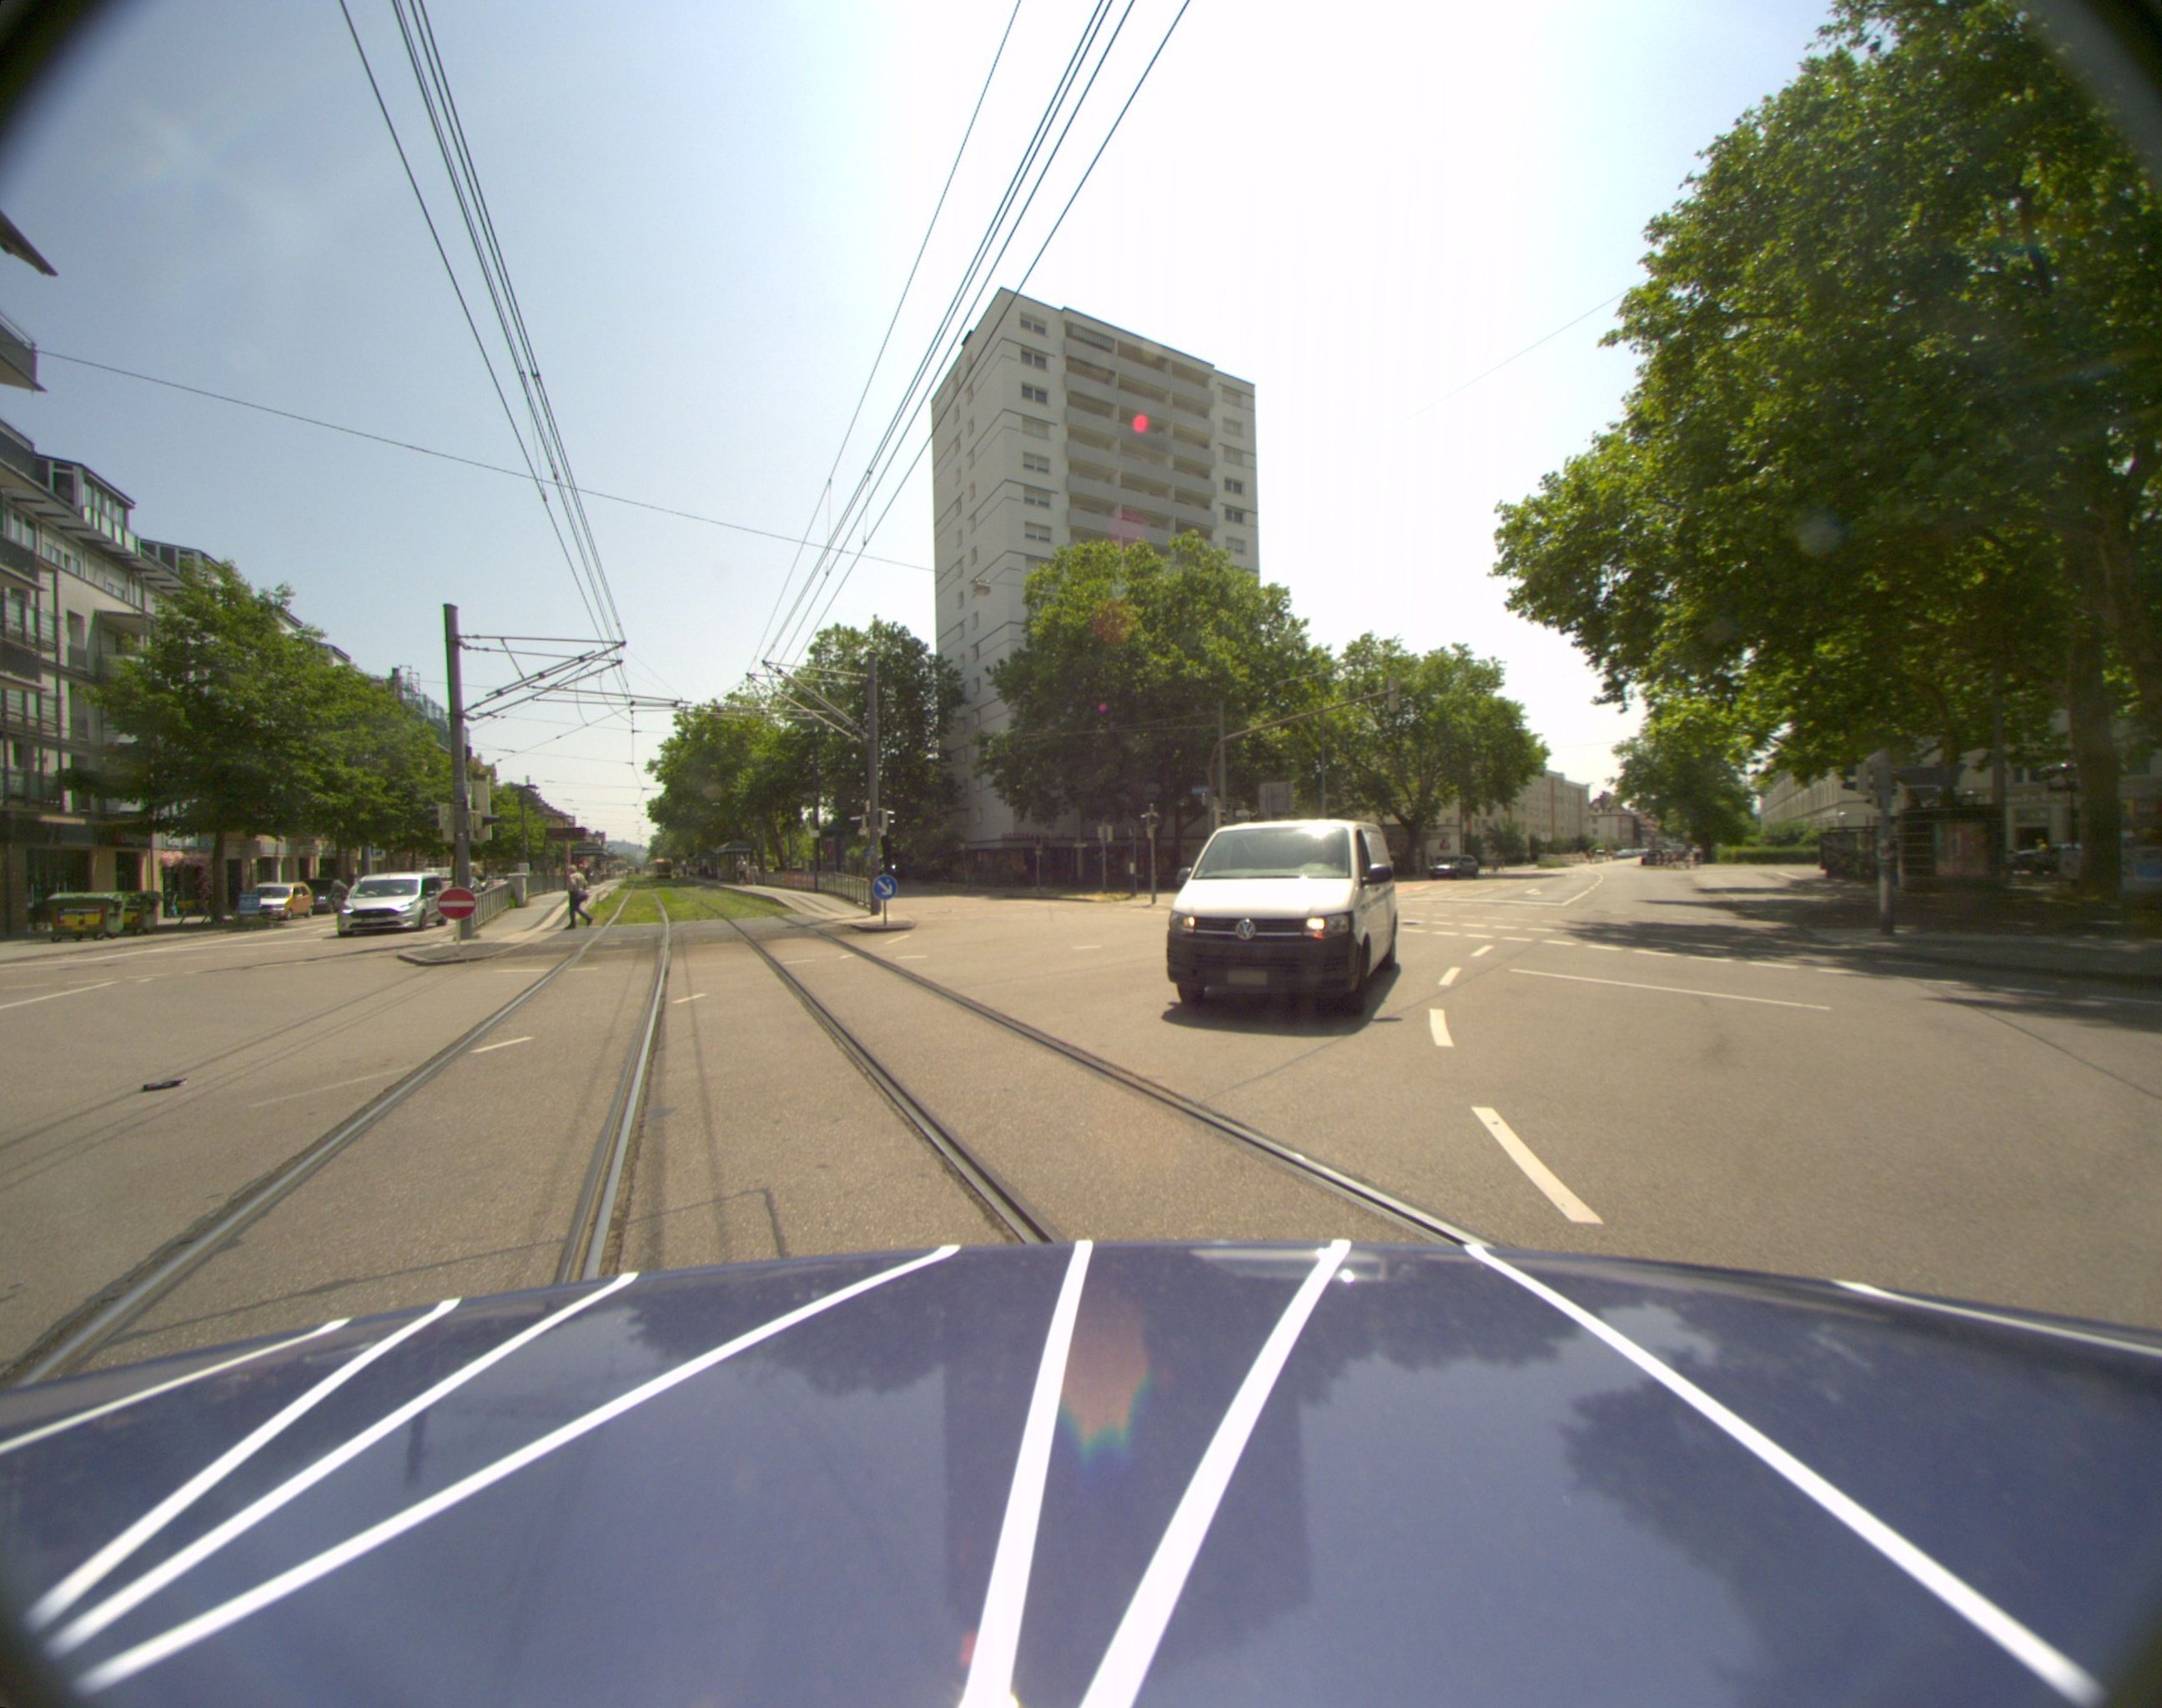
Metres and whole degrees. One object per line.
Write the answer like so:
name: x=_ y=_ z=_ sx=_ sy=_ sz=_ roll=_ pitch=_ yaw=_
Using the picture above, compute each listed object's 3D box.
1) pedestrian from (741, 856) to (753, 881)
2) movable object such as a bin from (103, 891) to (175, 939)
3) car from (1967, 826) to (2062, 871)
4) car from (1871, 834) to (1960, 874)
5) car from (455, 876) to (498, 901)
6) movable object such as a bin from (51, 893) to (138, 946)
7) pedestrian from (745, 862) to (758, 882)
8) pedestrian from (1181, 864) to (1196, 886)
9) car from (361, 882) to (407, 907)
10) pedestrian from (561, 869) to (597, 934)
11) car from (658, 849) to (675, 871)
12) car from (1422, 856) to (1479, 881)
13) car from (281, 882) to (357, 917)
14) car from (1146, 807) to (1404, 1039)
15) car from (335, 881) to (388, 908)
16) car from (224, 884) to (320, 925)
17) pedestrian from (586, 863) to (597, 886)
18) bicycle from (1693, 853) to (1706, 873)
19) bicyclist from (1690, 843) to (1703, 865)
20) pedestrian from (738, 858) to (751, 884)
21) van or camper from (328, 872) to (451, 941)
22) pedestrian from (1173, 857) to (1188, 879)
pedestrian: x=-21.792 y=0.944 z=49.578 sx=0.548 sy=1.571 sz=0.514 roll=-3 pitch=1 yaw=-31
movable object such as a bin: x=-30.783 y=1.974 z=24.860 sx=1.217 sy=1.428 sz=1.006 roll=-3 pitch=1 yaw=-36
car: x=45.333 y=-0.288 z=36.891 sx=4.005 sy=2.002 sz=1.996 roll=-3 pitch=1 yaw=-25
car: x=43.346 y=-0.010 z=39.458 sx=4.005 sy=1.888 sz=1.996 roll=-2 pitch=0 yaw=-25
car: x=-44.913 y=2.521 z=56.519 sx=2.003 sy=1.652 sz=3.990 roll=-1 pitch=0 yaw=-31
movable object such as a bin: x=-29.709 y=1.944 z=22.915 sx=1.216 sy=1.428 sz=1.006 roll=-3 pitch=1 yaw=-27
pedestrian: x=-21.904 y=1.200 z=50.527 sx=0.680 sy=1.341 sz=0.630 roll=-3 pitch=1 yaw=-31
pedestrian: x=6.811 y=1.306 z=47.998 sx=0.641 sy=1.357 sz=0.592 roll=-3 pitch=1 yaw=-35
car: x=-45.995 y=2.645 z=50.231 sx=1.690 sy=1.433 sz=3.467 roll=-2 pitch=0 yaw=-34
pedestrian: x=-13.530 y=1.265 z=20.482 sx=0.681 sy=1.695 sz=0.552 roll=-3 pitch=1 yaw=-27
car: x=-68.189 y=1.012 z=125.039 sx=2.279 sy=3.319 sz=12.007 roll=-2 pitch=0 yaw=-29
car: x=24.227 y=0.931 z=49.760 sx=4.065 sy=1.453 sz=1.941 roll=-3 pitch=1 yaw=-42
car: x=-39.253 y=2.280 z=39.228 sx=1.895 sy=1.522 sz=3.990 roll=-3 pitch=1 yaw=-33
car: x=2.589 y=0.649 z=8.983 sx=1.849 sy=1.941 sz=4.953 roll=-1 pitch=-2 yaw=28
car: x=-43.080 y=2.406 z=45.541 sx=1.690 sy=1.433 sz=3.467 roll=-2 pitch=0 yaw=-34
car: x=-36.648 y=2.241 z=34.533 sx=2.003 sy=1.522 sz=3.990 roll=-3 pitch=1 yaw=-33
pedestrian: x=-34.677 y=1.467 z=53.835 sx=0.551 sy=1.597 sz=0.552 roll=-3 pitch=1 yaw=-30
bicycle: x=50.870 y=0.751 z=62.475 sx=1.846 sy=1.546 sz=0.595 roll=-3 pitch=1 yaw=-45
bicyclist: x=50.363 y=-0.005 z=62.160 sx=0.789 sy=1.725 sz=0.703 roll=-3 pitch=1 yaw=-44
pedestrian: x=-21.122 y=1.044 z=47.682 sx=0.554 sy=1.597 sz=0.678 roll=-3 pitch=1 yaw=-31
van or camper: x=-20.794 y=1.489 z=23.065 sx=1.770 sy=1.748 sz=4.583 roll=-3 pitch=1 yaw=-30
pedestrian: x=6.378 y=0.886 z=48.649 sx=0.641 sy=1.357 sz=0.592 roll=-3 pitch=1 yaw=-35
